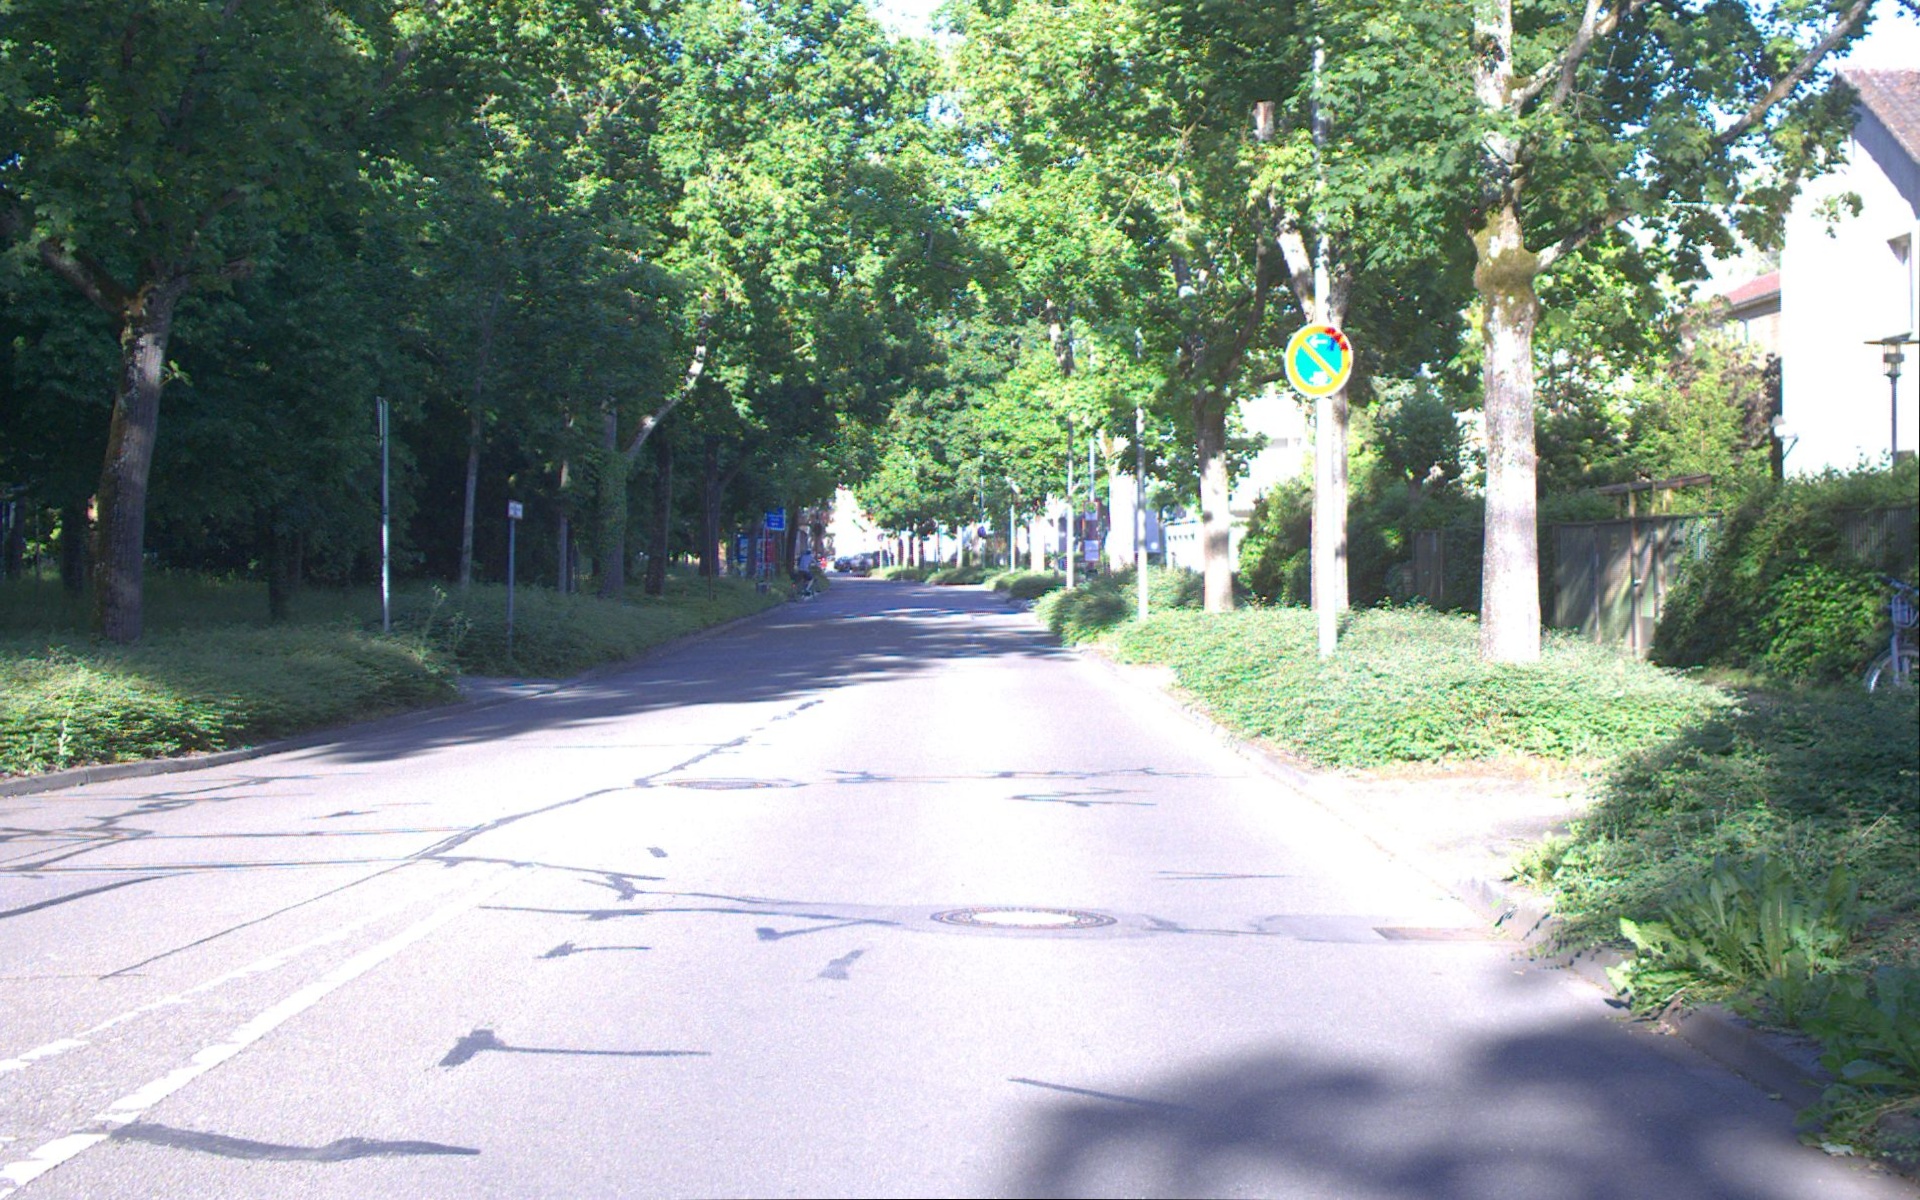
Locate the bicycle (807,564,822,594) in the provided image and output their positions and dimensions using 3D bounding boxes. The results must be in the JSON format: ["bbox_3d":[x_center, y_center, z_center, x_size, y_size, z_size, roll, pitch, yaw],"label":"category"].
[{"bbox_3d":[-4.960,-0.734,117.262,0.439,0.975,1.661,0,2,-1],"label":"bicycle"}]

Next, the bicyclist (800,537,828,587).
[{"bbox_3d":[-4.969,-1.296,117.249,0.867,1.635,1.115,1,2,0],"label":"bicyclist"}]

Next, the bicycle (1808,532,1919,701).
[{"bbox_3d":[7.115,0.094,26.070,0.884,1.196,2.323,-2,1,24],"label":"bicycle"}]
